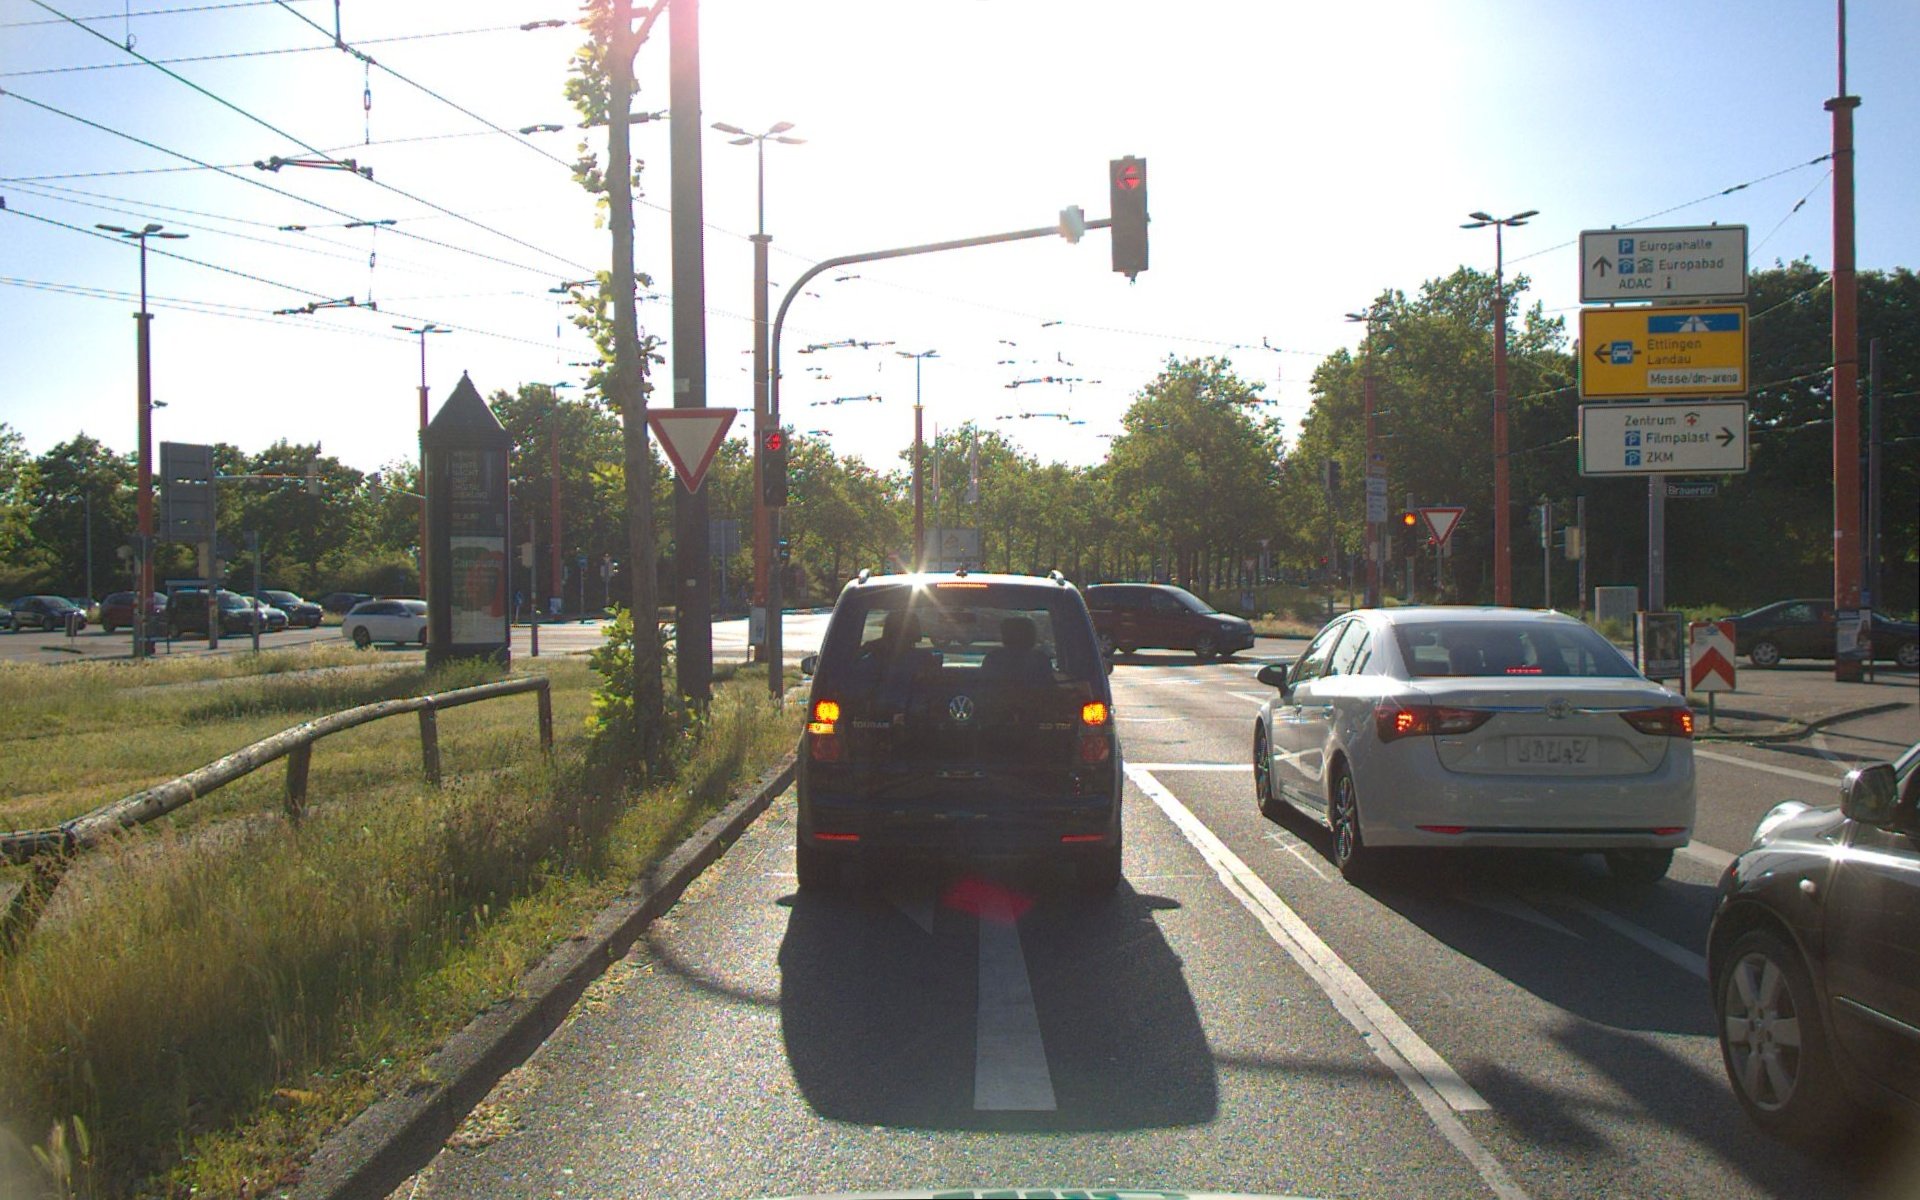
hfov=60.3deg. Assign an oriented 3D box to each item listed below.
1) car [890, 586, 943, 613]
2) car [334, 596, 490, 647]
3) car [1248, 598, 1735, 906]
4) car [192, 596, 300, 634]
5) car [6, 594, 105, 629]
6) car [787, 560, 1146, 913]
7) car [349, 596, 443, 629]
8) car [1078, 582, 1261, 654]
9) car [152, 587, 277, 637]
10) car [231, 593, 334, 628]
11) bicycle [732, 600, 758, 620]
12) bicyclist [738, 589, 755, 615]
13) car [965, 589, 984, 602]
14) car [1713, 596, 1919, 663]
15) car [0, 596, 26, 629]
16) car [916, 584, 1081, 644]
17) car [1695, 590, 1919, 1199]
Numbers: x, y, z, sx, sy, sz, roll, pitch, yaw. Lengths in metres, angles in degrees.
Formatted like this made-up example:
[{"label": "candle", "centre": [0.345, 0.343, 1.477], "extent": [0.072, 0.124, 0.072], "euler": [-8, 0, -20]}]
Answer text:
[{"label": "car", "centre": [-2.756, -0.033, 105.905], "extent": [1.951, 1.714, 4.831], "euler": [0, 0, 17]}, {"label": "car", "centre": [-17.849, 0.676, 53.833], "extent": [4.817, 1.602, 1.998], "euler": [0, 0, 26]}, {"label": "car", "centre": [2.945, 0.737, 10.110], "extent": [1.679, 1.480, 4.144], "euler": [0, 0, 0]}, {"label": "car", "centre": [-29.345, 0.598, 67.995], "extent": [4.127, 1.489, 1.912], "euler": [0, 0, 27]}, {"label": "car", "centre": [-40.002, 0.497, 73.165], "extent": [3.963, 1.489, 1.912], "euler": [0, 0, 26]}, {"label": "car", "centre": [0.004, 0.640, 9.866], "extent": [1.702, 1.670, 3.999], "euler": [0, 0, -1]}, {"label": "car", "centre": [-28.387, 0.607, 83.275], "extent": [4.365, 1.624, 1.998], "euler": [0, 0, 26]}, {"label": "car", "centre": [5.304, 0.434, 41.972], "extent": [4.260, 1.762, 1.840], "euler": [0, 0, 28]}, {"label": "car", "centre": [-28.800, 0.462, 63.840], "extent": [4.687, 1.868, 1.912], "euler": [0, 0, 27]}, {"label": "car", "centre": [-29.265, 0.443, 71.403], "extent": [4.127, 1.489, 1.912], "euler": [0, 0, 27]}, {"label": "bicycle", "centre": [-12.228, 0.564, 94.222], "extent": [0.719, 1.109, 1.962], "euler": [0, 0, 18]}, {"label": "bicyclist", "centre": [-12.197, 0.089, 94.441], "extent": [0.678, 1.483, 0.875], "euler": [0, 0, 17]}, {"label": "car", "centre": [1.496, -0.475, 171.828], "extent": [1.622, 1.333, 3.818], "euler": [0, 0, 6]}, {"label": "car", "centre": [18.321, 0.590, 35.019], "extent": [4.222, 1.350, 1.759], "euler": [0, 0, 29]}, {"label": "car", "centre": [-45.050, 0.574, 75.774], "extent": [4.143, 1.489, 1.913], "euler": [0, 0, 26]}, {"label": "car", "centre": [1.103, 0.388, 48.058], "extent": [4.463, 1.697, 1.840], "euler": [0, 0, 28]}, {"label": "car", "centre": [3.124, 0.740, 3.510], "extent": [1.525, 1.532, 3.515], "euler": [0, 0, -1]}]
